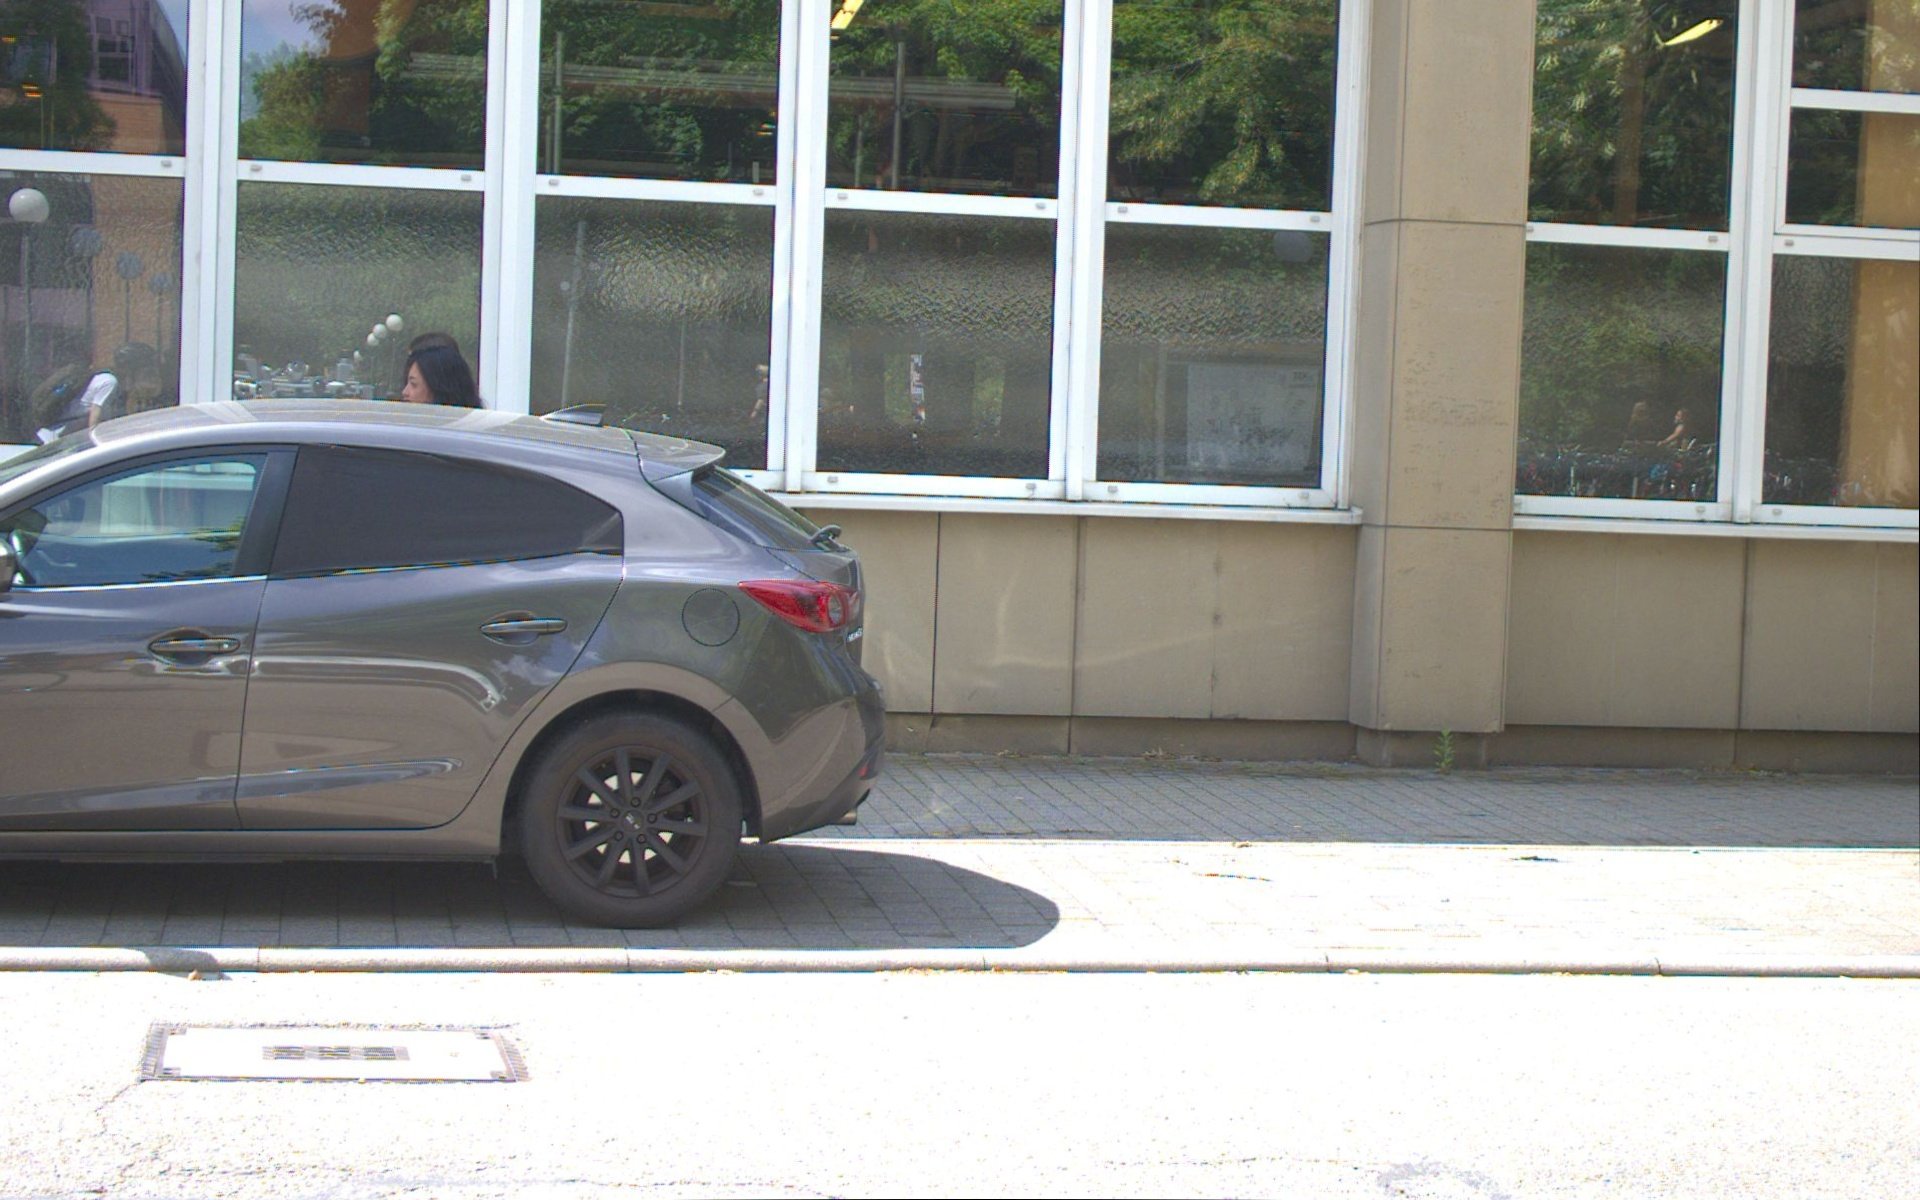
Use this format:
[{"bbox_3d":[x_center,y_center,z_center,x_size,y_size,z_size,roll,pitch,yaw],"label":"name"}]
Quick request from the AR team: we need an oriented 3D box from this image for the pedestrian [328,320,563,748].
[{"bbox_3d":[-1.929,-0.253,12.819,0.795,1.536,0.664,1,3,-11],"label":"pedestrian"}]

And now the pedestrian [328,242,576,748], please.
[{"bbox_3d":[-1.806,-0.371,12.151,0.795,1.722,0.602,1,3,-11],"label":"pedestrian"}]

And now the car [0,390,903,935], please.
[{"bbox_3d":[-2.445,0.131,10.318,4.274,1.430,1.732,1,5,-11],"label":"car"}]

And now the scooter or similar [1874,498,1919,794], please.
[{"bbox_3d":[4.559,0.195,14.527,1.241,1.203,0.384,1,5,-11],"label":"scooter or similar"}]
